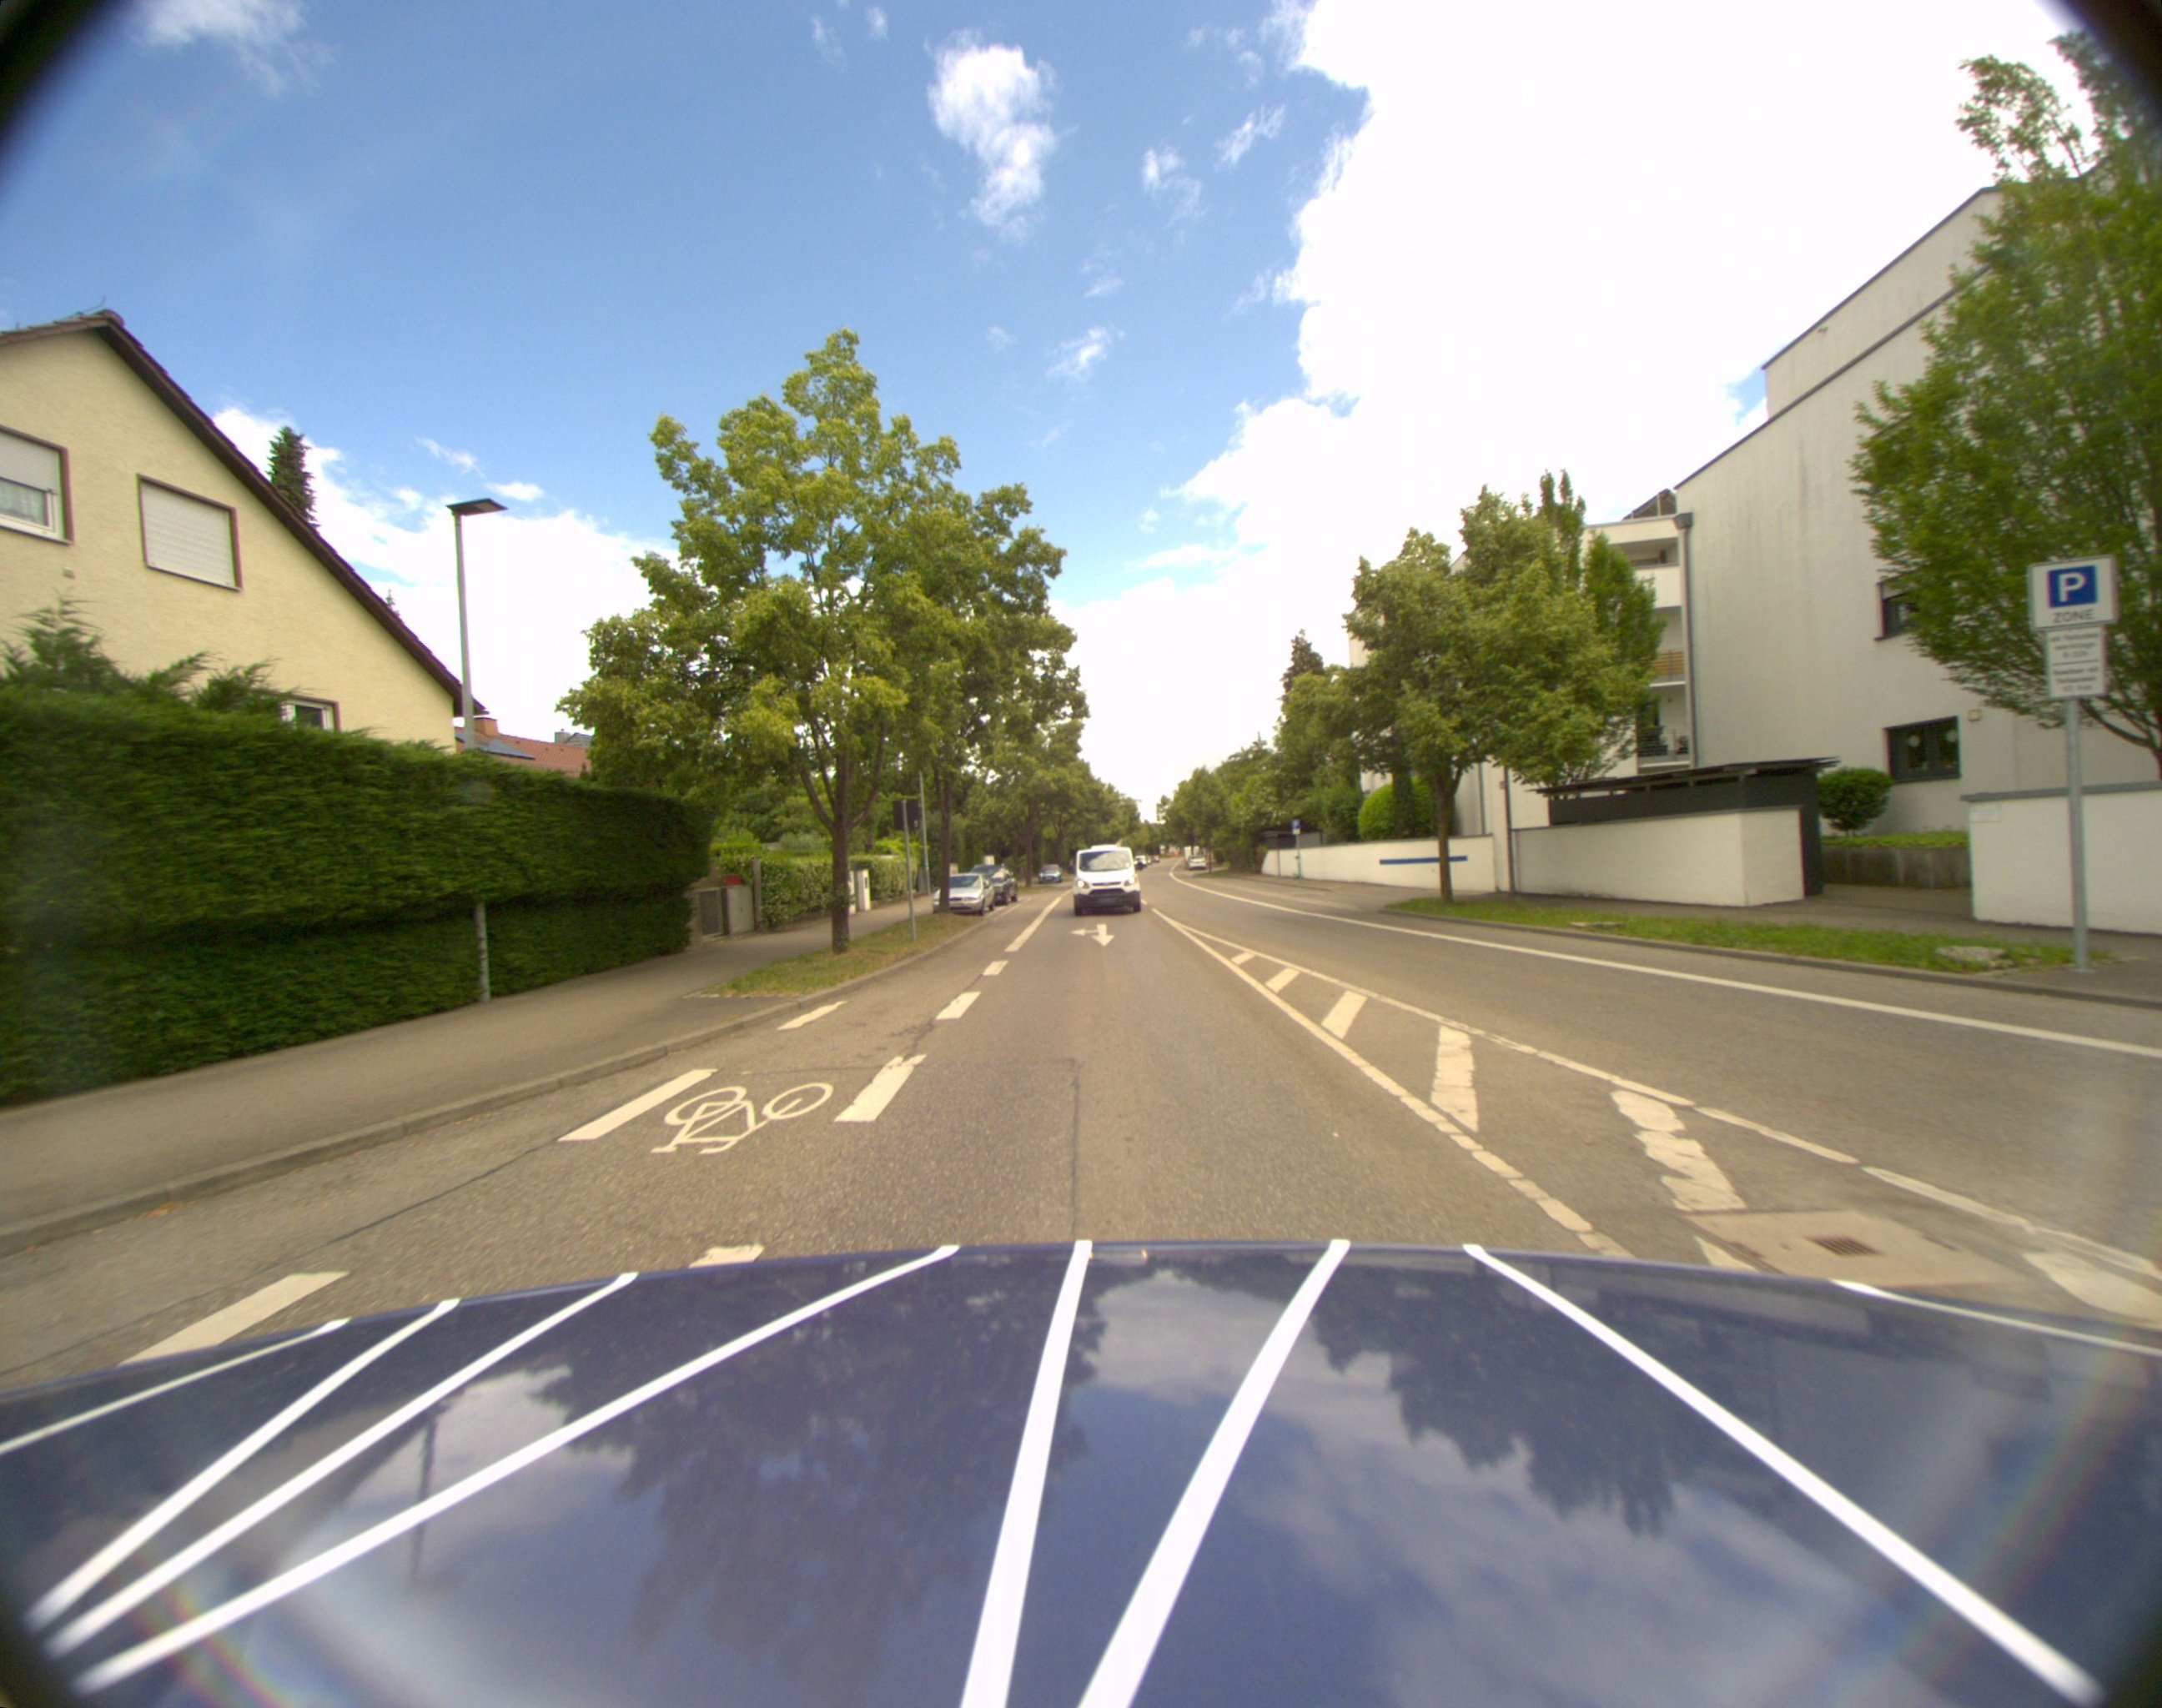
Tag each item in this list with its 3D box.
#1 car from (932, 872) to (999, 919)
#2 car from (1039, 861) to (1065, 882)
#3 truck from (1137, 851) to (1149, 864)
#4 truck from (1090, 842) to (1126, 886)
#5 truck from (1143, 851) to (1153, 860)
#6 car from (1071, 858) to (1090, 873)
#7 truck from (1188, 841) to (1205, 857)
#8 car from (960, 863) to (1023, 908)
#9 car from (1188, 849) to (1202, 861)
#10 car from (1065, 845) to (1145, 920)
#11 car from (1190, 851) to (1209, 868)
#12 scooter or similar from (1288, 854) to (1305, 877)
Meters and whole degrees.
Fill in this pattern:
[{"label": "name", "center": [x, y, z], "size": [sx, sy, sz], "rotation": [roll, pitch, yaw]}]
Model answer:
[{"label": "car", "center": [-3.788, 1.326, 25.404], "size": [1.561, 1.343, 3.540], "rotation": [-2, 0, 1]}, {"label": "car", "center": [-2.228, 1.335, 59.184], "size": [1.666, 1.398, 3.658], "rotation": [-3, 0, 2]}, {"label": "truck", "center": [9.439, 0.500, 115.702], "size": [1.614, 1.780, 4.002], "rotation": [-3, 0, 6]}, {"label": "truck", "center": [1.683, 0.599, 48.637], "size": [2.036, 2.555, 6.058], "rotation": [-3, 0, 1]}, {"label": "truck", "center": [12.282, 0.250, 139.090], "size": [1.618, 1.649, 4.002], "rotation": [-3, 0, 6]}, {"label": "car", "center": [-0.017, 1.305, 87.230], "size": [1.776, 1.588, 3.816], "rotation": [-3, 0, 4]}, {"label": "truck", "center": [20.597, -0.890, 135.875], "size": [2.640, 2.757, 6.260], "rotation": [-3, 0, 7]}, {"label": "car", "center": [-3.608, 1.228, 31.405], "size": [1.770, 1.626, 4.549], "rotation": [-3, 0, 3]}, {"label": "car", "center": [16.449, 0.115, 109.628], "size": [1.888, 1.606, 4.003], "rotation": [-3, 0, 9]}, {"label": "car", "center": [0.900, 0.802, 24.049], "size": [2.074, 1.956, 5.559], "rotation": [-5, 0, 5]}, {"label": "car", "center": [12.926, 0.583, 82.923], "size": [1.916, 1.643, 4.003], "rotation": [-3, 0, 9]}, {"label": "scooter or similar", "center": [11.382, 0.610, 40.089], "size": [0.434, 1.159, 1.327], "rotation": [-6, 0, 2]}]
